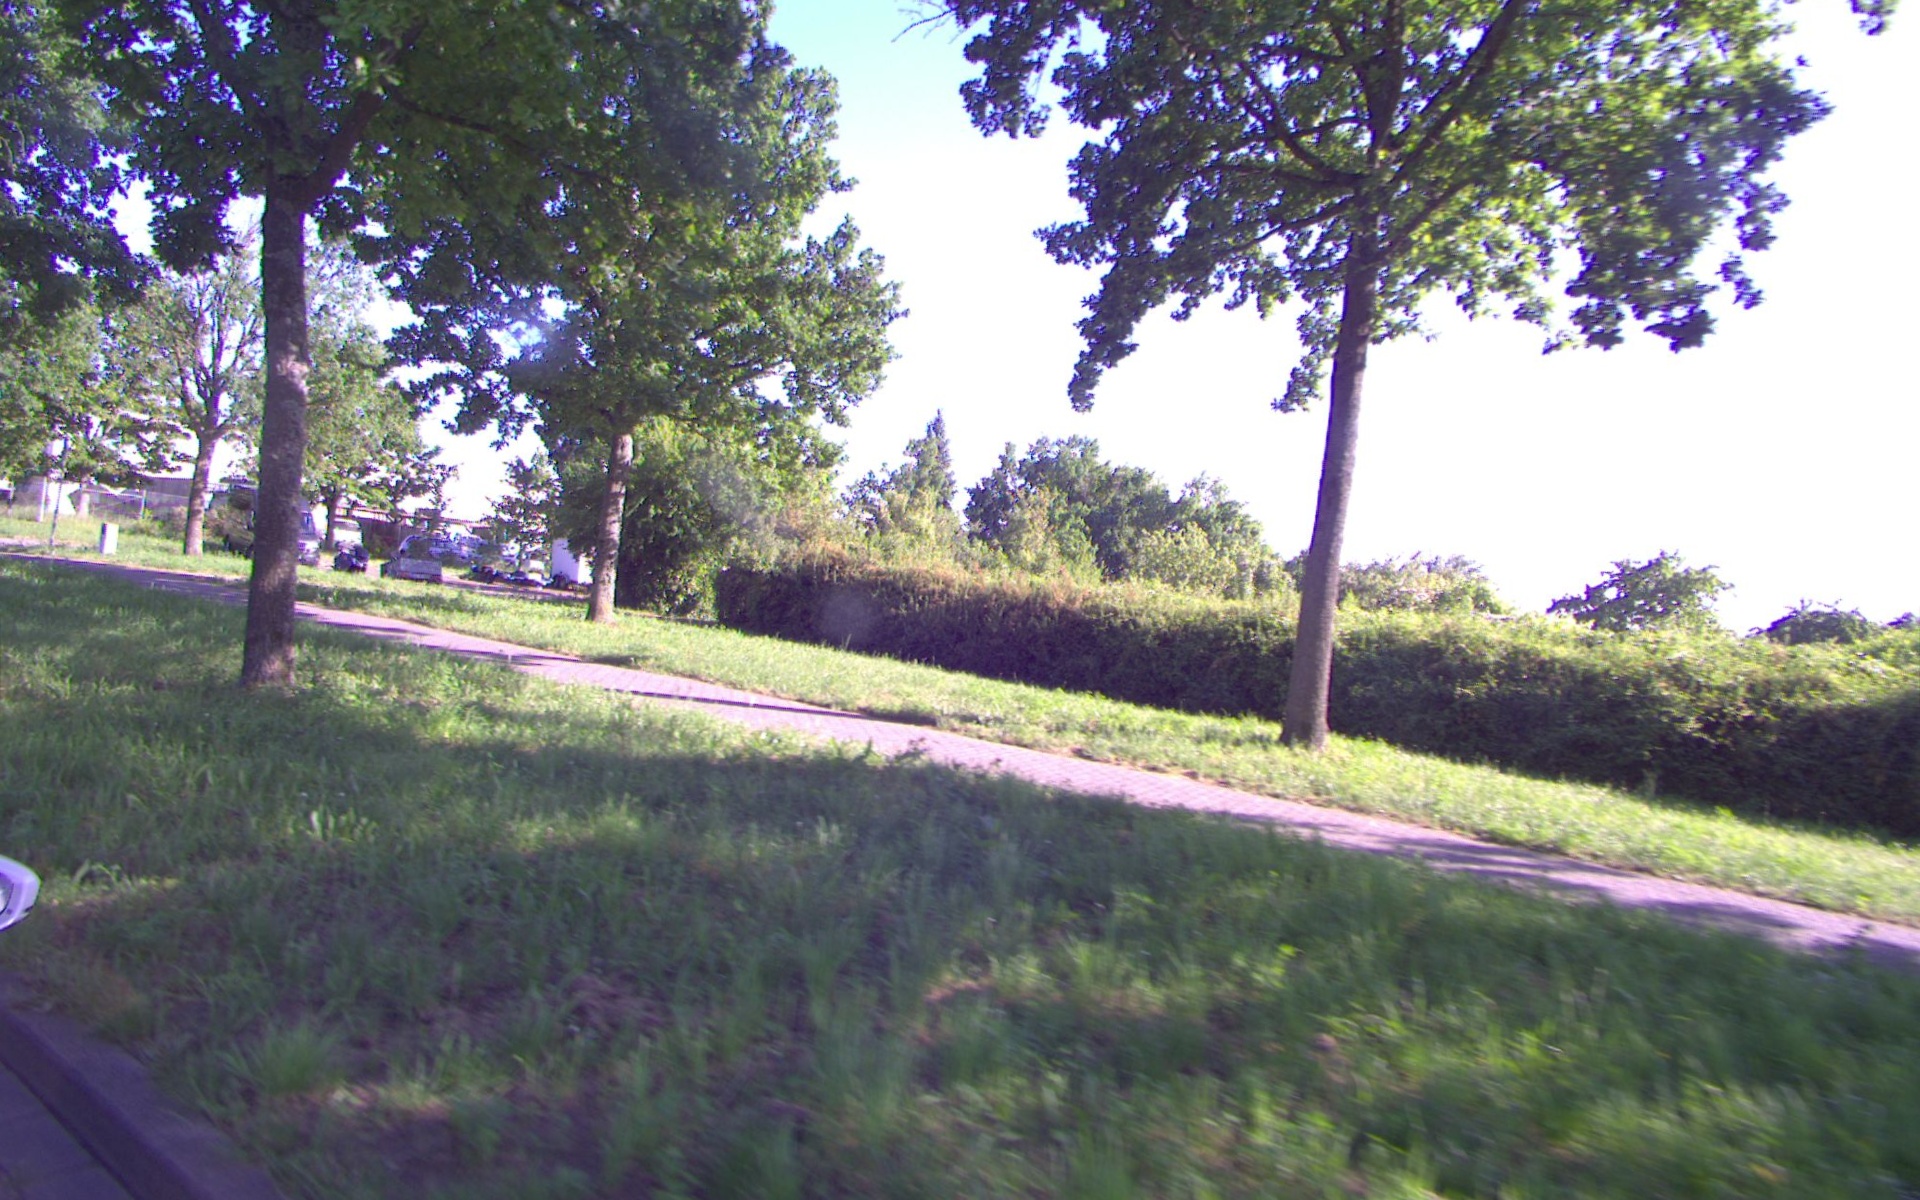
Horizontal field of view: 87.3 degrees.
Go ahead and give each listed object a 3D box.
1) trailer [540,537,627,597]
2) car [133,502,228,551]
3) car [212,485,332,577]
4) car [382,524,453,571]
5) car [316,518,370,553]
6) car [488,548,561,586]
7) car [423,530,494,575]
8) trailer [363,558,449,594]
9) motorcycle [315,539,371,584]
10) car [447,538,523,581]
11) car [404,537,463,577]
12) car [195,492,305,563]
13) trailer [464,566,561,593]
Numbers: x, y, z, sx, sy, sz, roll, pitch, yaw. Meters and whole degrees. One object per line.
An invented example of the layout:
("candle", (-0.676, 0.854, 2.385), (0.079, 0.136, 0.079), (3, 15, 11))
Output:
("trailer", (-17.659, -1.569, 47.128), (3.737, 2.336, 2.185), (7, 0, 42))
("car", (-34.186, -3.222, 44.133), (3.536, 1.685, 2.008), (7, 0, 30))
("car", (-25.496, -2.598, 37.157), (5.886, 2.597, 2.082), (10, 1, 42))
("car", (-33.027, -3.237, 61.168), (4.941, 2.087, 2.082), (10, 1, 42))
("car", (-35.222, -3.702, 57.370), (1.828, 1.660, 3.952), (6, 0, -43))
("car", (-24.161, -1.820, 55.777), (3.939, 1.612, 1.993), (7, 0, 37))
("car", (-31.441, -3.000, 63.001), (4.941, 2.087, 2.082), (10, 1, 42))
("trailer", (-16.221, -0.679, 29.453), (2.028, 0.878, 1.576), (1, -4, 42))
("motorcycle", (-18.241, -1.118, 29.707), (2.375, 1.245, 0.661), (1, -3, 41))
("car", (-25.512, -2.181, 53.981), (3.939, 1.846, 1.993), (7, 1, 37))
("car", (-26.853, -2.217, 51.224), (1.826, 1.660, 3.956), (6, 0, -39))
("car", (-32.648, -3.342, 46.257), (4.768, 2.676, 2.163), (7, 1, 30))
("trailer", (-20.073, -0.944, 45.048), (4.756, 0.659, 2.224), (6, 0, 42))
